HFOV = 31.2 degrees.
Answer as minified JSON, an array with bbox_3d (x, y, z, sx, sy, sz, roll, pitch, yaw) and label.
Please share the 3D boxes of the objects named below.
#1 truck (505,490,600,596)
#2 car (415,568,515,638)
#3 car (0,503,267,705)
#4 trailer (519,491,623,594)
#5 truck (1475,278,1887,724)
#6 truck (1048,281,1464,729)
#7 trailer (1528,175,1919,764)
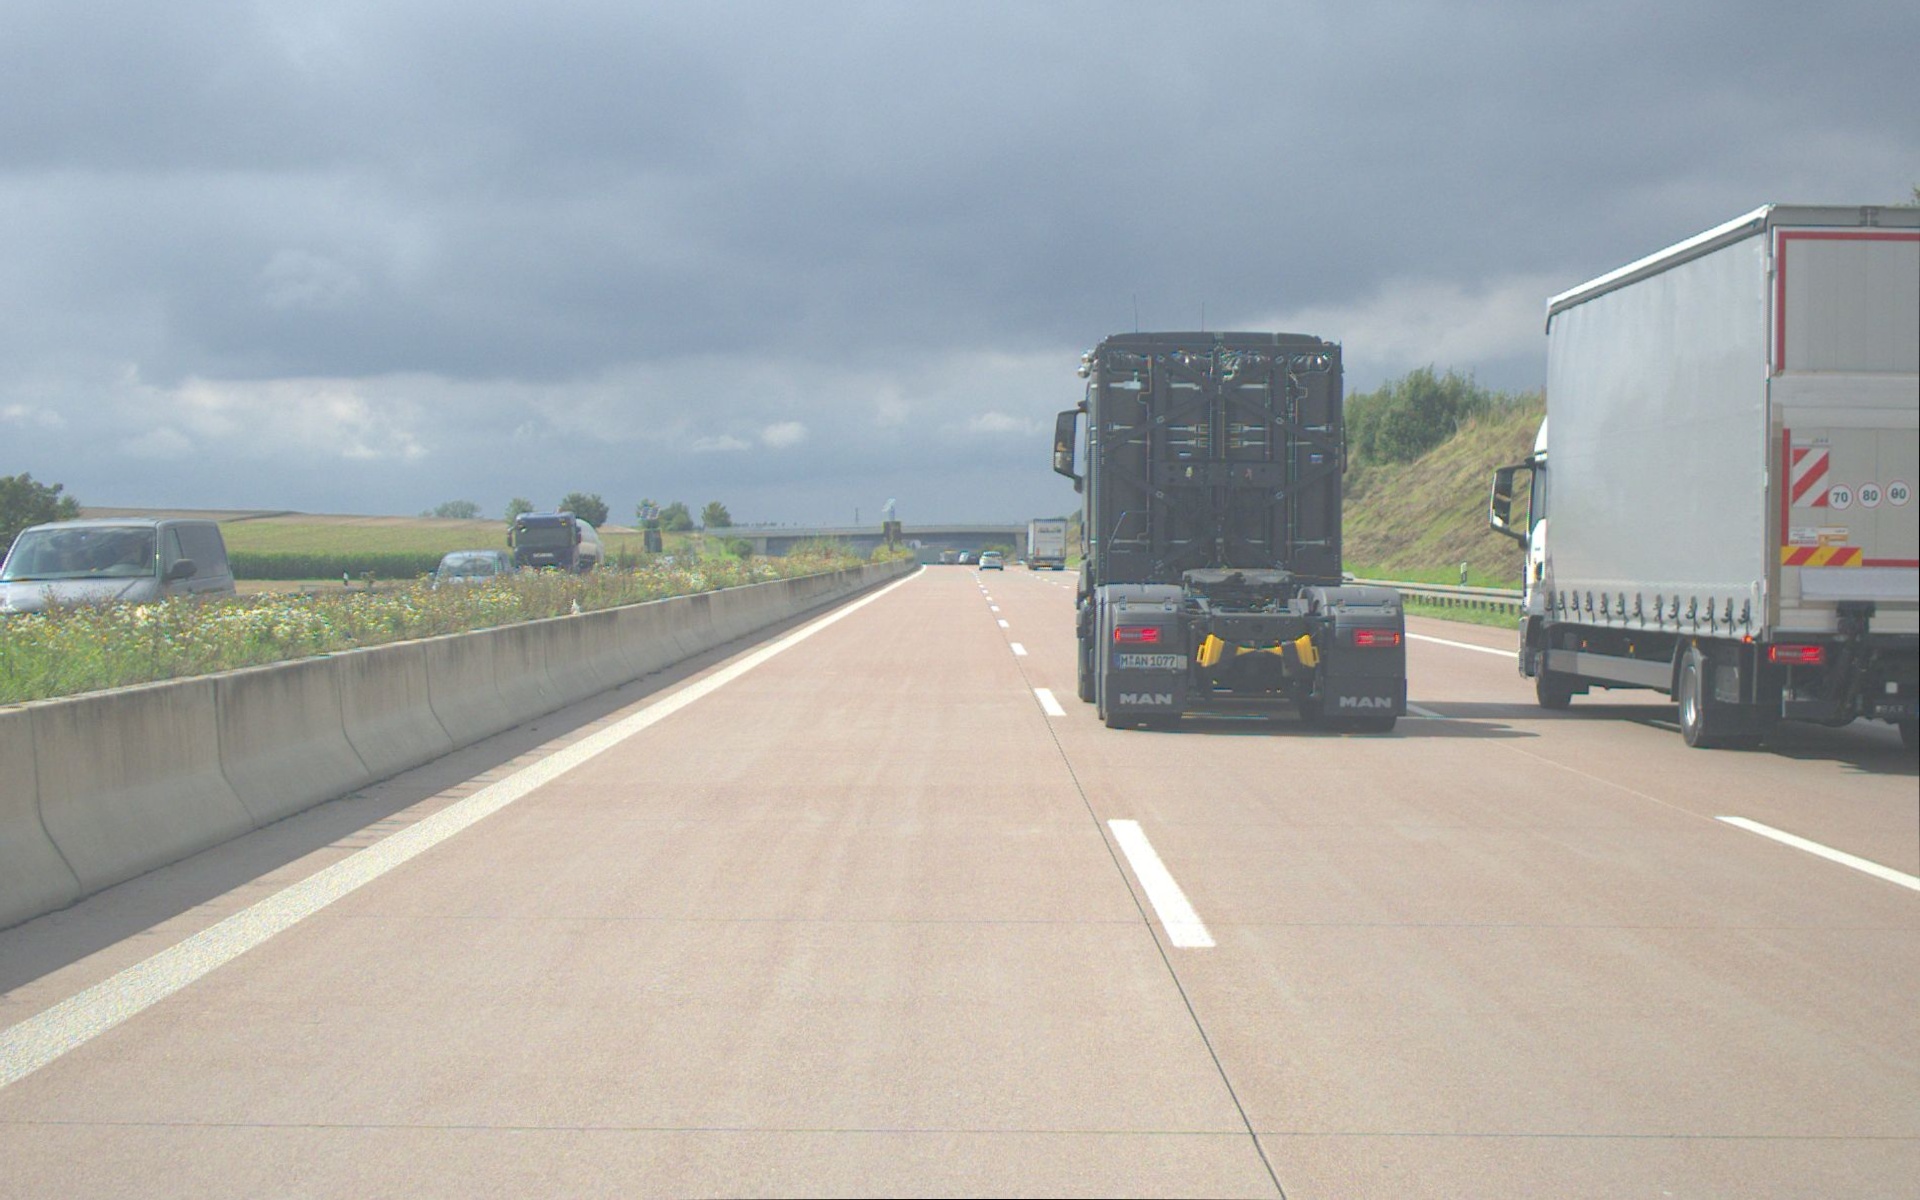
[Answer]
[{"bbox_3d":[-16.536,-2.324,139.840,2.892,4.084,6.335,-2,1,1],"label":"truck"},{"bbox_3d":[-12.917,0.067,89.973,1.993,1.693,4.256,-2,1,0],"label":"car"},{"bbox_3d":[-9.095,0.007,37.650,1.993,2.007,5.247,-2,1,-1],"label":"car"},{"bbox_3d":[-16.458,-2.455,146.183,2.892,4.084,11.037,-2,1,1],"label":"trailer"},{"bbox_3d":[6.681,-0.910,32.522,2.748,3.878,4.546,1,1,-2],"label":"truck"},{"bbox_3d":[2.473,-0.805,31.662,2.847,3.537,8.320,1,1,-1],"label":"truck"},{"bbox_3d":[6.846,-0.927,27.805,2.747,3.998,8.671,1,1,-2],"label":"trailer"}]
